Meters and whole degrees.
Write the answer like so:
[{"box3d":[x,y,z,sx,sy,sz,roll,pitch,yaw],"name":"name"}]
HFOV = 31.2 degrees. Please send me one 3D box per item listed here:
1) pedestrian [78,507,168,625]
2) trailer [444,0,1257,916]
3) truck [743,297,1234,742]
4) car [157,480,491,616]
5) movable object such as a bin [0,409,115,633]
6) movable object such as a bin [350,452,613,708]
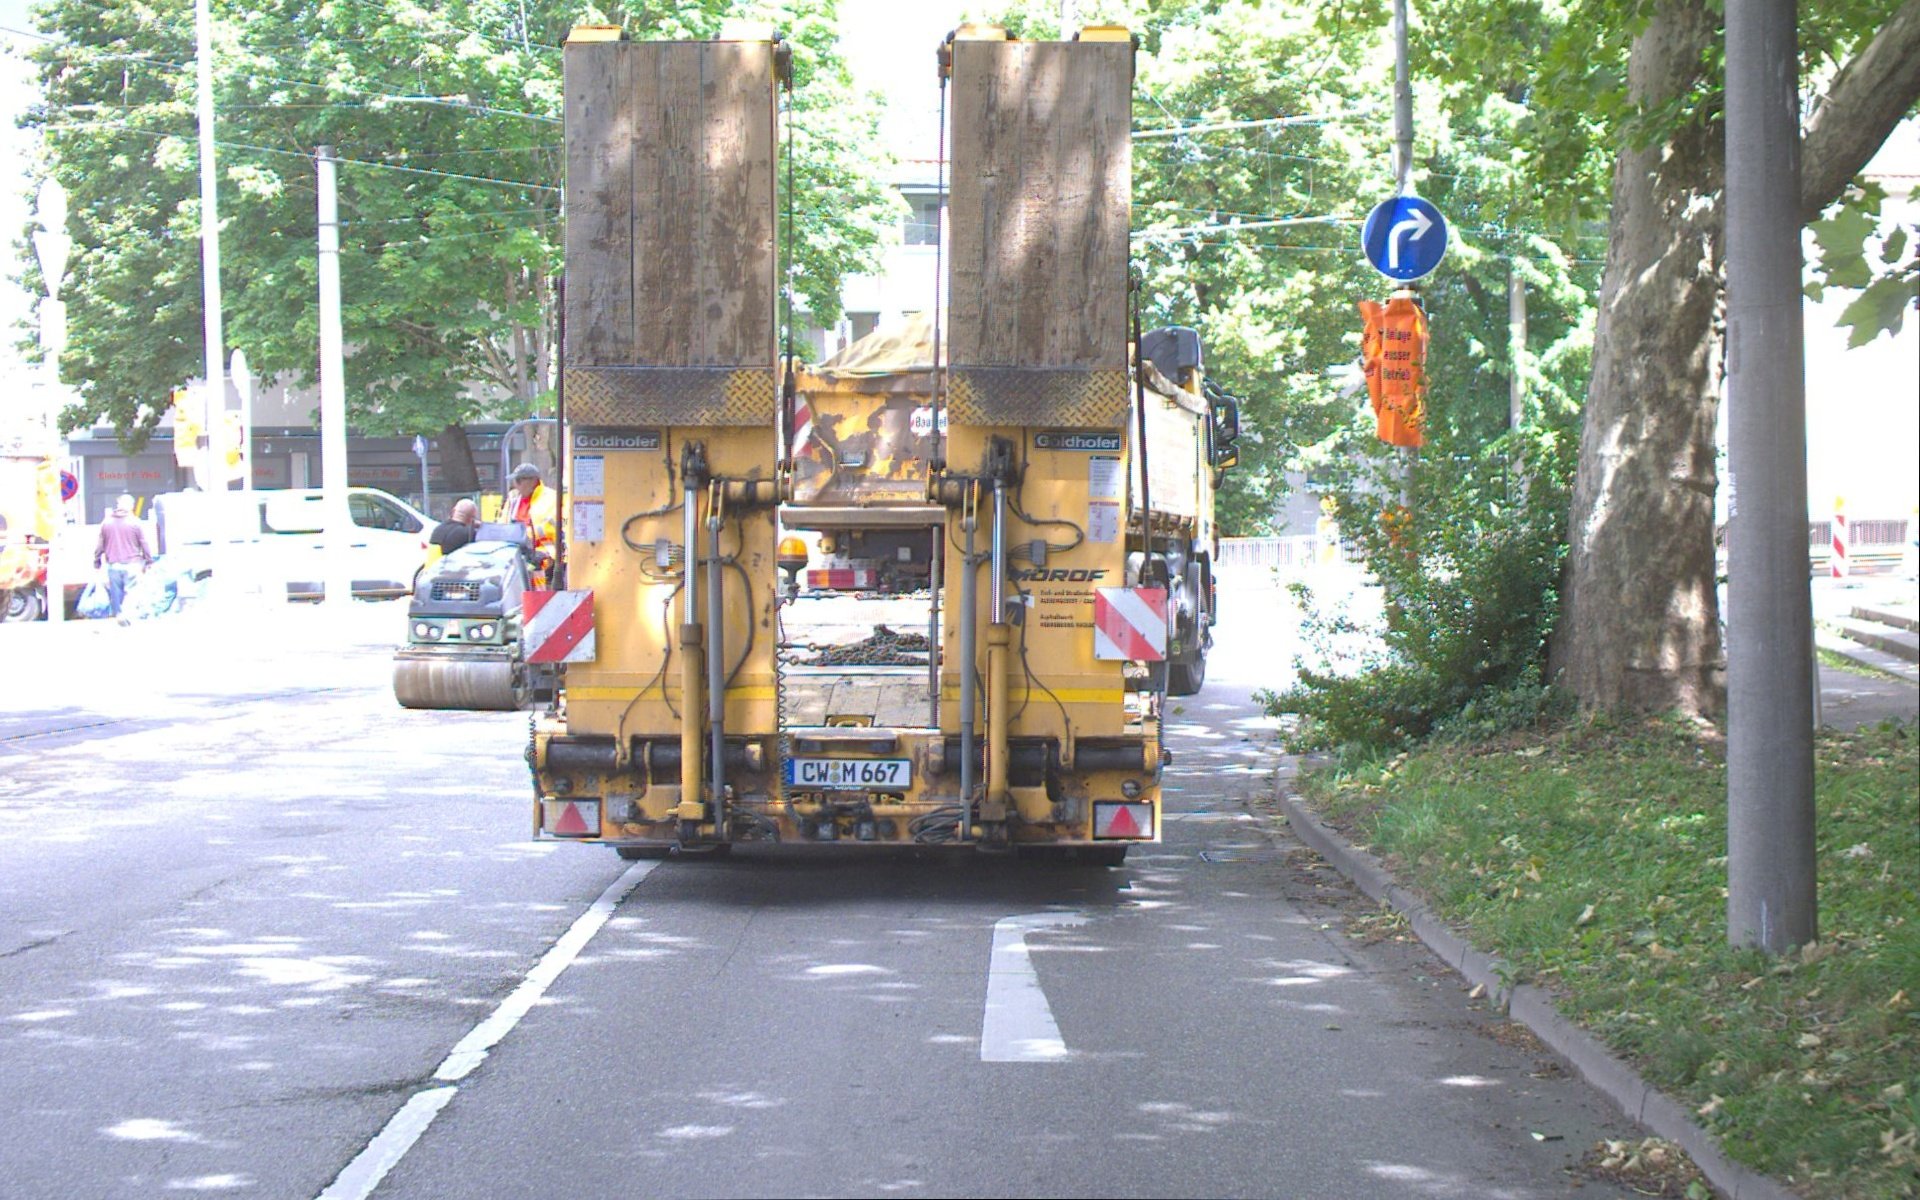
[{"box3d":[-10.109,-0.415,41.544,0.916,1.404,0.753,0,1,-2],"name":"pedestrian"},{"box3d":[-0.103,-0.652,18.851,3.154,3.540,11.096,0,1,3],"name":"trailer"},{"box3d":[0.495,-0.638,28.251,2.990,3.124,7.885,0,1,8],"name":"truck"},{"box3d":[-10.075,-0.822,54.398,5.088,2.095,1.977,0,1,-14],"name":"car"},{"box3d":[-12.791,-0.956,42.032,4.373,2.620,2.217,0,1,26],"name":"movable object such as a bin"},{"box3d":[-3.900,-0.184,28.323,1.399,2.007,2.555,0,1,11],"name":"movable object such as a bin"}]
